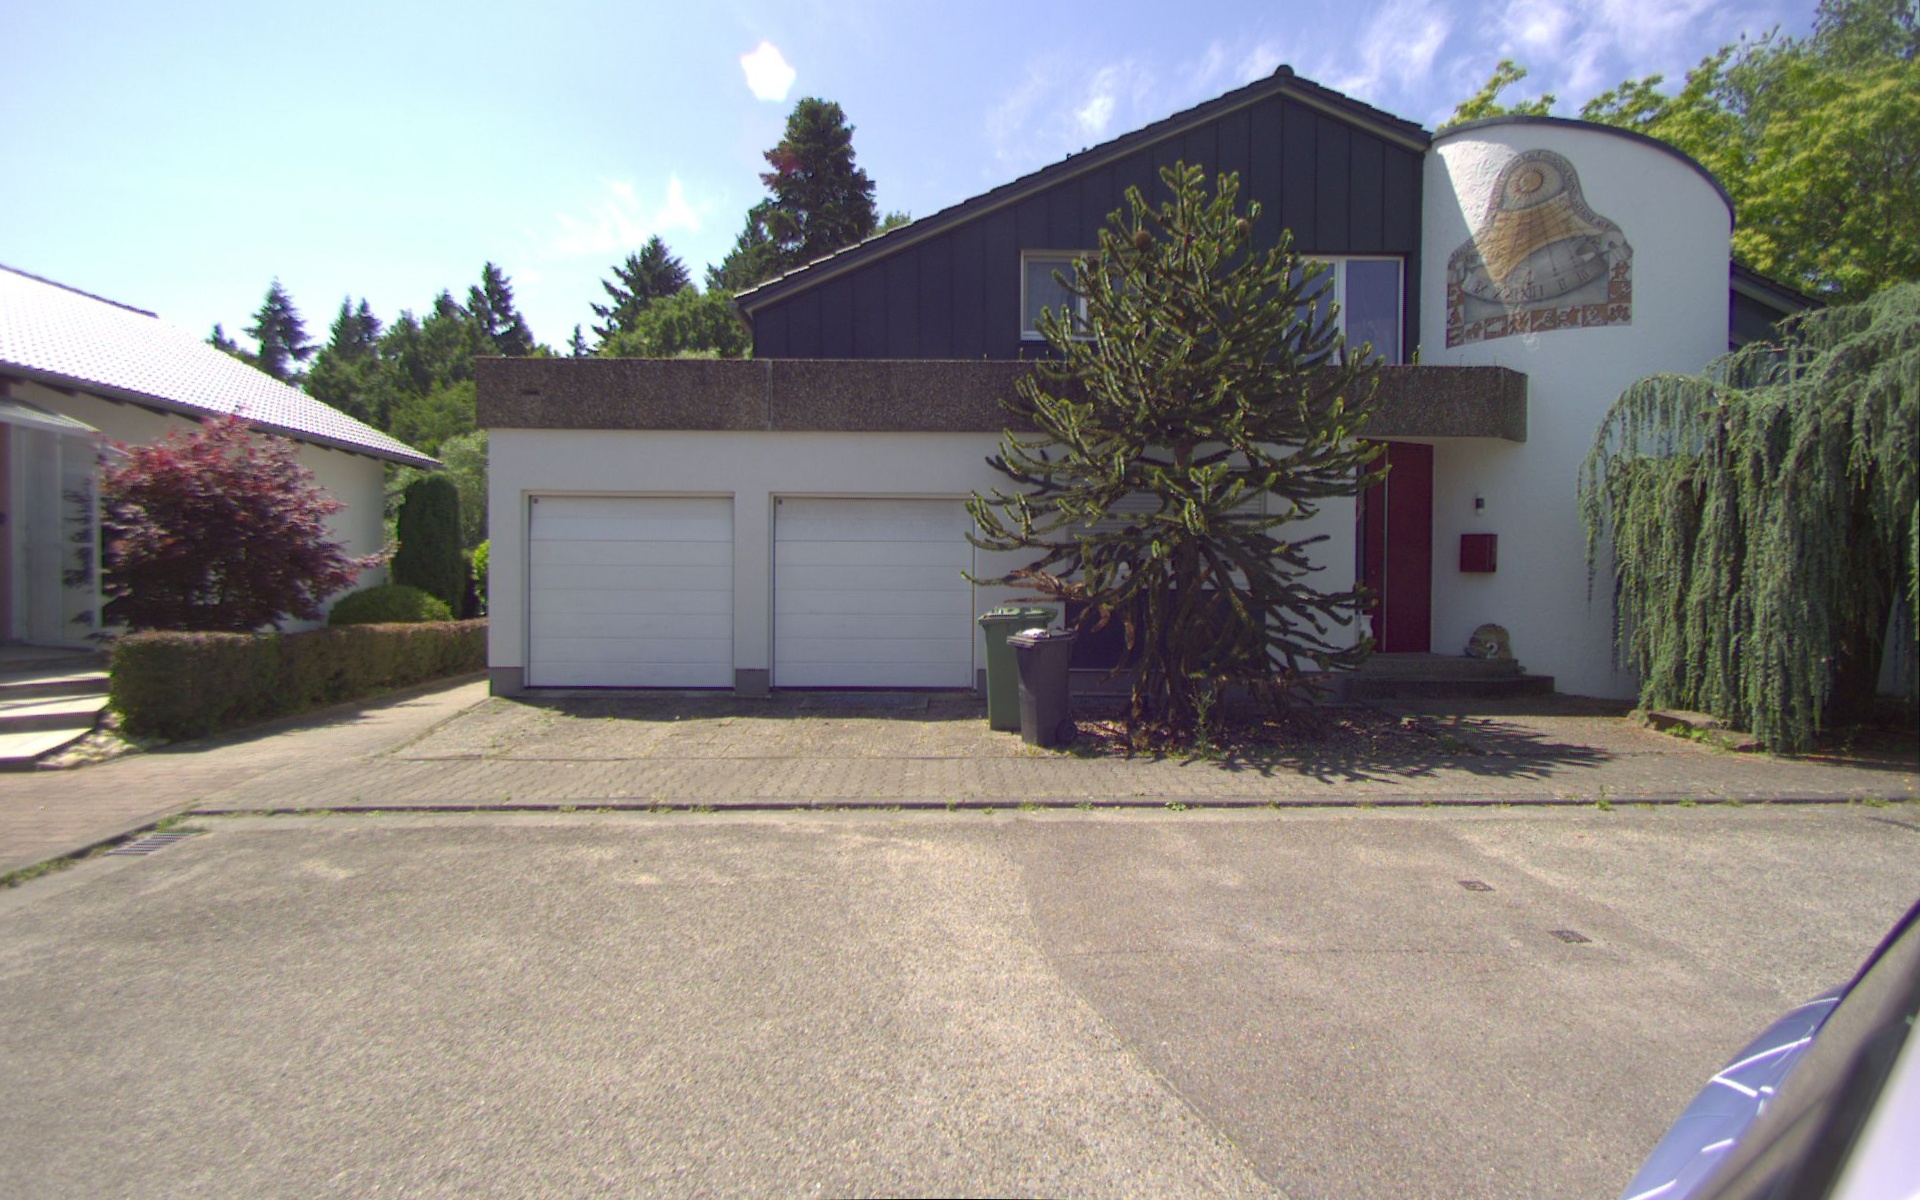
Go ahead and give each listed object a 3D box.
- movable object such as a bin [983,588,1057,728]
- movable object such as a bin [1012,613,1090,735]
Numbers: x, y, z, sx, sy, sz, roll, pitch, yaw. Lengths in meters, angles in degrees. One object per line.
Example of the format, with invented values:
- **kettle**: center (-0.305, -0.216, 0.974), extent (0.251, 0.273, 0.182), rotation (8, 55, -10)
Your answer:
- **movable object such as a bin**: center (0.527, 0.500, 9.095), extent (0.622, 1.218, 0.551), rotation (0, 1, -1)
- **movable object such as a bin**: center (0.756, 0.600, 8.429), extent (0.513, 0.961, 0.390), rotation (0, 1, -27)
